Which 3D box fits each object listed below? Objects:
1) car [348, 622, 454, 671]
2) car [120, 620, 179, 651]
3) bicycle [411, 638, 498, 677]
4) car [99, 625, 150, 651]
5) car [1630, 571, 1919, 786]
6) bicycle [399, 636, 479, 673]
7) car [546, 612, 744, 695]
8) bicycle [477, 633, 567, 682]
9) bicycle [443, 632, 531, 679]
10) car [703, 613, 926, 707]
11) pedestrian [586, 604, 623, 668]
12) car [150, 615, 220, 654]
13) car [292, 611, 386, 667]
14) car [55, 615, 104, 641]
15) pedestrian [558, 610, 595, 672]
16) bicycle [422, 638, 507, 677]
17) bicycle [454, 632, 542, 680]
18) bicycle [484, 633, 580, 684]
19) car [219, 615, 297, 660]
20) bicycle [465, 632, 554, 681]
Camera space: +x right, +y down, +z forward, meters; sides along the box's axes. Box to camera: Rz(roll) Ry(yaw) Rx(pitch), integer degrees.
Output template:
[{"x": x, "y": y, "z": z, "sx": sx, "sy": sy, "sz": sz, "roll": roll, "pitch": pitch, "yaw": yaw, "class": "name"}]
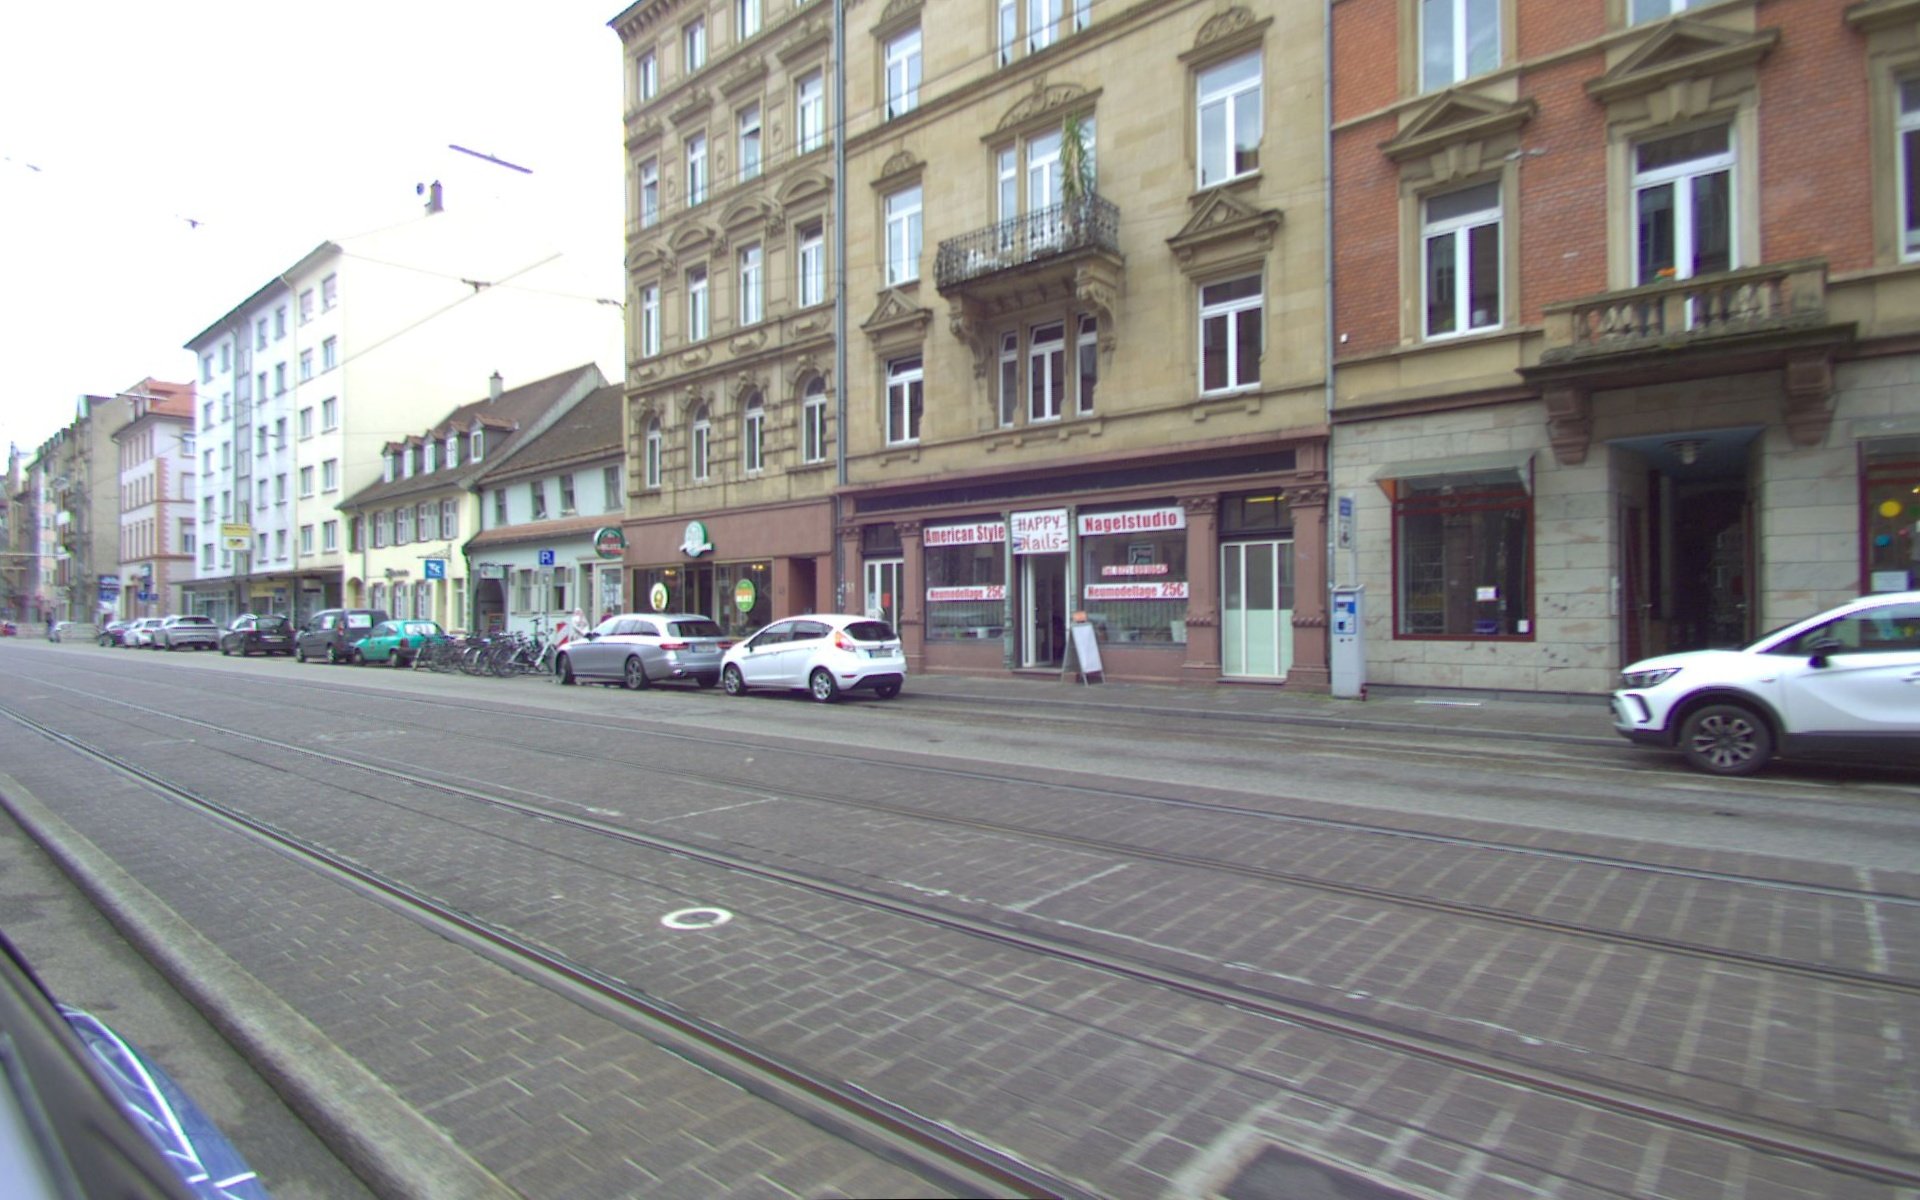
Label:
[{"x": -17.121, "y": 1.405, "z": 30.953, "sx": 3.431, "sy": 1.391, "sz": 1.631, "roll": -2, "pitch": -3, "yaw": 38, "class": "car"}, {"x": -41.893, "y": 1.807, "z": 52.255, "sx": 3.824, "sy": 1.462, "sz": 1.710, "roll": -1, "pitch": 0, "yaw": 41, "class": "car"}, {"x": -13.960, "y": 1.562, "z": 28.007, "sx": 0.556, "sy": 0.940, "sz": 2.100, "roll": -1, "pitch": 0, "yaw": 38, "class": "bicycle"}, {"x": -46.518, "y": 2.092, "z": 56.332, "sx": 3.245, "sy": 1.353, "sz": 1.710, "roll": -1, "pitch": 0, "yaw": 41, "class": "car"}, {"x": 8.182, "y": 0.633, "z": 8.521, "sx": 4.043, "sy": 1.685, "sz": 1.725, "roll": -1, "pitch": -2, "yaw": 41, "class": "car"}, {"x": -15.011, "y": 1.561, "z": 29.208, "sx": 0.556, "sy": 0.940, "sz": 2.019, "roll": -1, "pitch": 0, "yaw": 38, "class": "bicycle"}, {"x": -6.563, "y": 1.063, "z": 20.840, "sx": 4.543, "sy": 1.533, "sz": 1.805, "roll": -2, "pitch": -3, "yaw": 42, "class": "car"}, {"x": -10.924, "y": 1.410, "z": 25.315, "sx": 0.557, "sy": 1.106, "sz": 2.017, "roll": -1, "pitch": 0, "yaw": 42, "class": "bicycle"}, {"x": -12.407, "y": 1.433, "z": 26.605, "sx": 0.557, "sy": 1.106, "sz": 2.017, "roll": -1, "pitch": 0, "yaw": 42, "class": "bicycle"}, {"x": -2.671, "y": 1.010, "z": 18.040, "sx": 4.043, "sy": 1.476, "sz": 1.725, "roll": -1, "pitch": -2, "yaw": 41, "class": "car"}, {"x": -9.729, "y": 0.975, "z": 27.684, "sx": 0.753, "sy": 1.725, "sz": 0.648, "roll": -1, "pitch": 0, "yaw": 41, "class": "pedestrian"}, {"x": -36.730, "y": 1.598, "z": 47.929, "sx": 3.824, "sy": 1.745, "sz": 1.904, "roll": -1, "pitch": 0, "yaw": 41, "class": "car"}, {"x": -20.947, "y": 1.283, "z": 34.101, "sx": 3.919, "sy": 1.770, "sz": 1.684, "roll": -1, "pitch": -2, "yaw": 43, "class": "car"}, {"x": -57.404, "y": 1.819, "z": 65.974, "sx": 3.998, "sy": 1.574, "sz": 1.843, "roll": -1, "pitch": -3, "yaw": 42, "class": "car"}, {"x": -10.351, "y": 1.095, "z": 27.317, "sx": 0.727, "sy": 1.629, "sz": 0.648, "roll": -1, "pitch": 0, "yaw": 41, "class": "pedestrian"}, {"x": -13.465, "y": 1.555, "z": 27.565, "sx": 0.557, "sy": 0.940, "sz": 2.017, "roll": -1, "pitch": 0, "yaw": 43, "class": "bicycle"}, {"x": -11.948, "y": 1.426, "z": 26.206, "sx": 0.557, "sy": 1.106, "sz": 2.017, "roll": -1, "pitch": 0, "yaw": 42, "class": "bicycle"}, {"x": -10.430, "y": 1.404, "z": 24.726, "sx": 0.557, "sy": 1.106, "sz": 2.111, "roll": -1, "pitch": 0, "yaw": 42, "class": "bicycle"}, {"x": -28.271, "y": 1.455, "z": 40.711, "sx": 4.180, "sy": 1.684, "sz": 1.682, "roll": -1, "pitch": 0, "yaw": 42, "class": "car"}, {"x": -11.418, "y": 1.418, "z": 25.698, "sx": 0.557, "sy": 1.106, "sz": 2.017, "roll": -1, "pitch": 0, "yaw": 42, "class": "bicycle"}]
